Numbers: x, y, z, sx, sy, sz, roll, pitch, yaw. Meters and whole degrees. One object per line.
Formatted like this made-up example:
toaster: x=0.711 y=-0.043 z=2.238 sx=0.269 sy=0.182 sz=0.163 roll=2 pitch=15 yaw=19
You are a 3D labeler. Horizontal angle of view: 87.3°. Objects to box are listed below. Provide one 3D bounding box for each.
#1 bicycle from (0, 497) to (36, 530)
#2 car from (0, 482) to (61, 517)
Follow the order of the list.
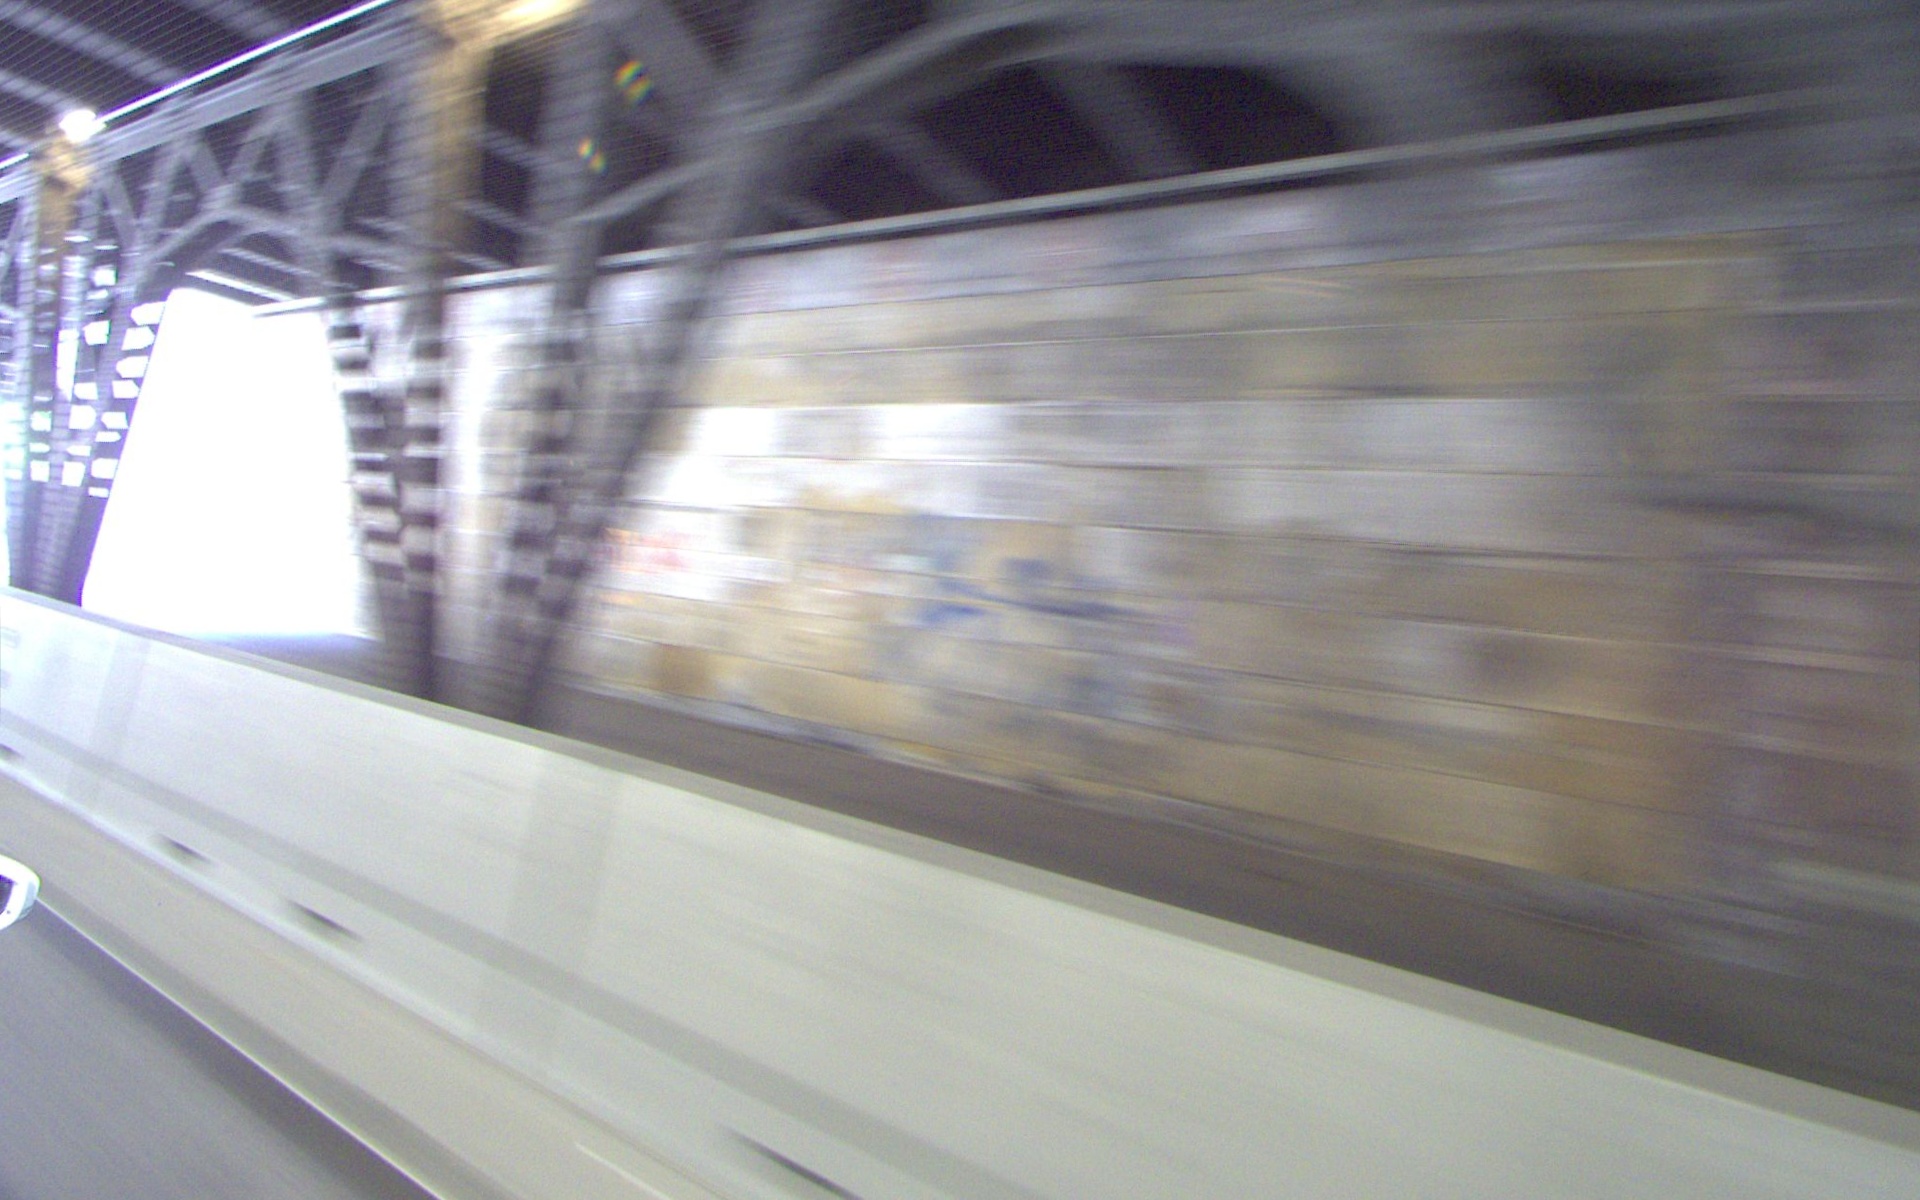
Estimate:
bicycle: x=-30.523 y=-2.799 z=31.712 sx=0.498 sy=0.916 sz=1.947 roll=6 pitch=0 yaw=31
car: x=-58.028 y=-6.284 z=61.201 sx=1.971 sy=1.709 sz=4.673 roll=7 pitch=0 yaw=39
